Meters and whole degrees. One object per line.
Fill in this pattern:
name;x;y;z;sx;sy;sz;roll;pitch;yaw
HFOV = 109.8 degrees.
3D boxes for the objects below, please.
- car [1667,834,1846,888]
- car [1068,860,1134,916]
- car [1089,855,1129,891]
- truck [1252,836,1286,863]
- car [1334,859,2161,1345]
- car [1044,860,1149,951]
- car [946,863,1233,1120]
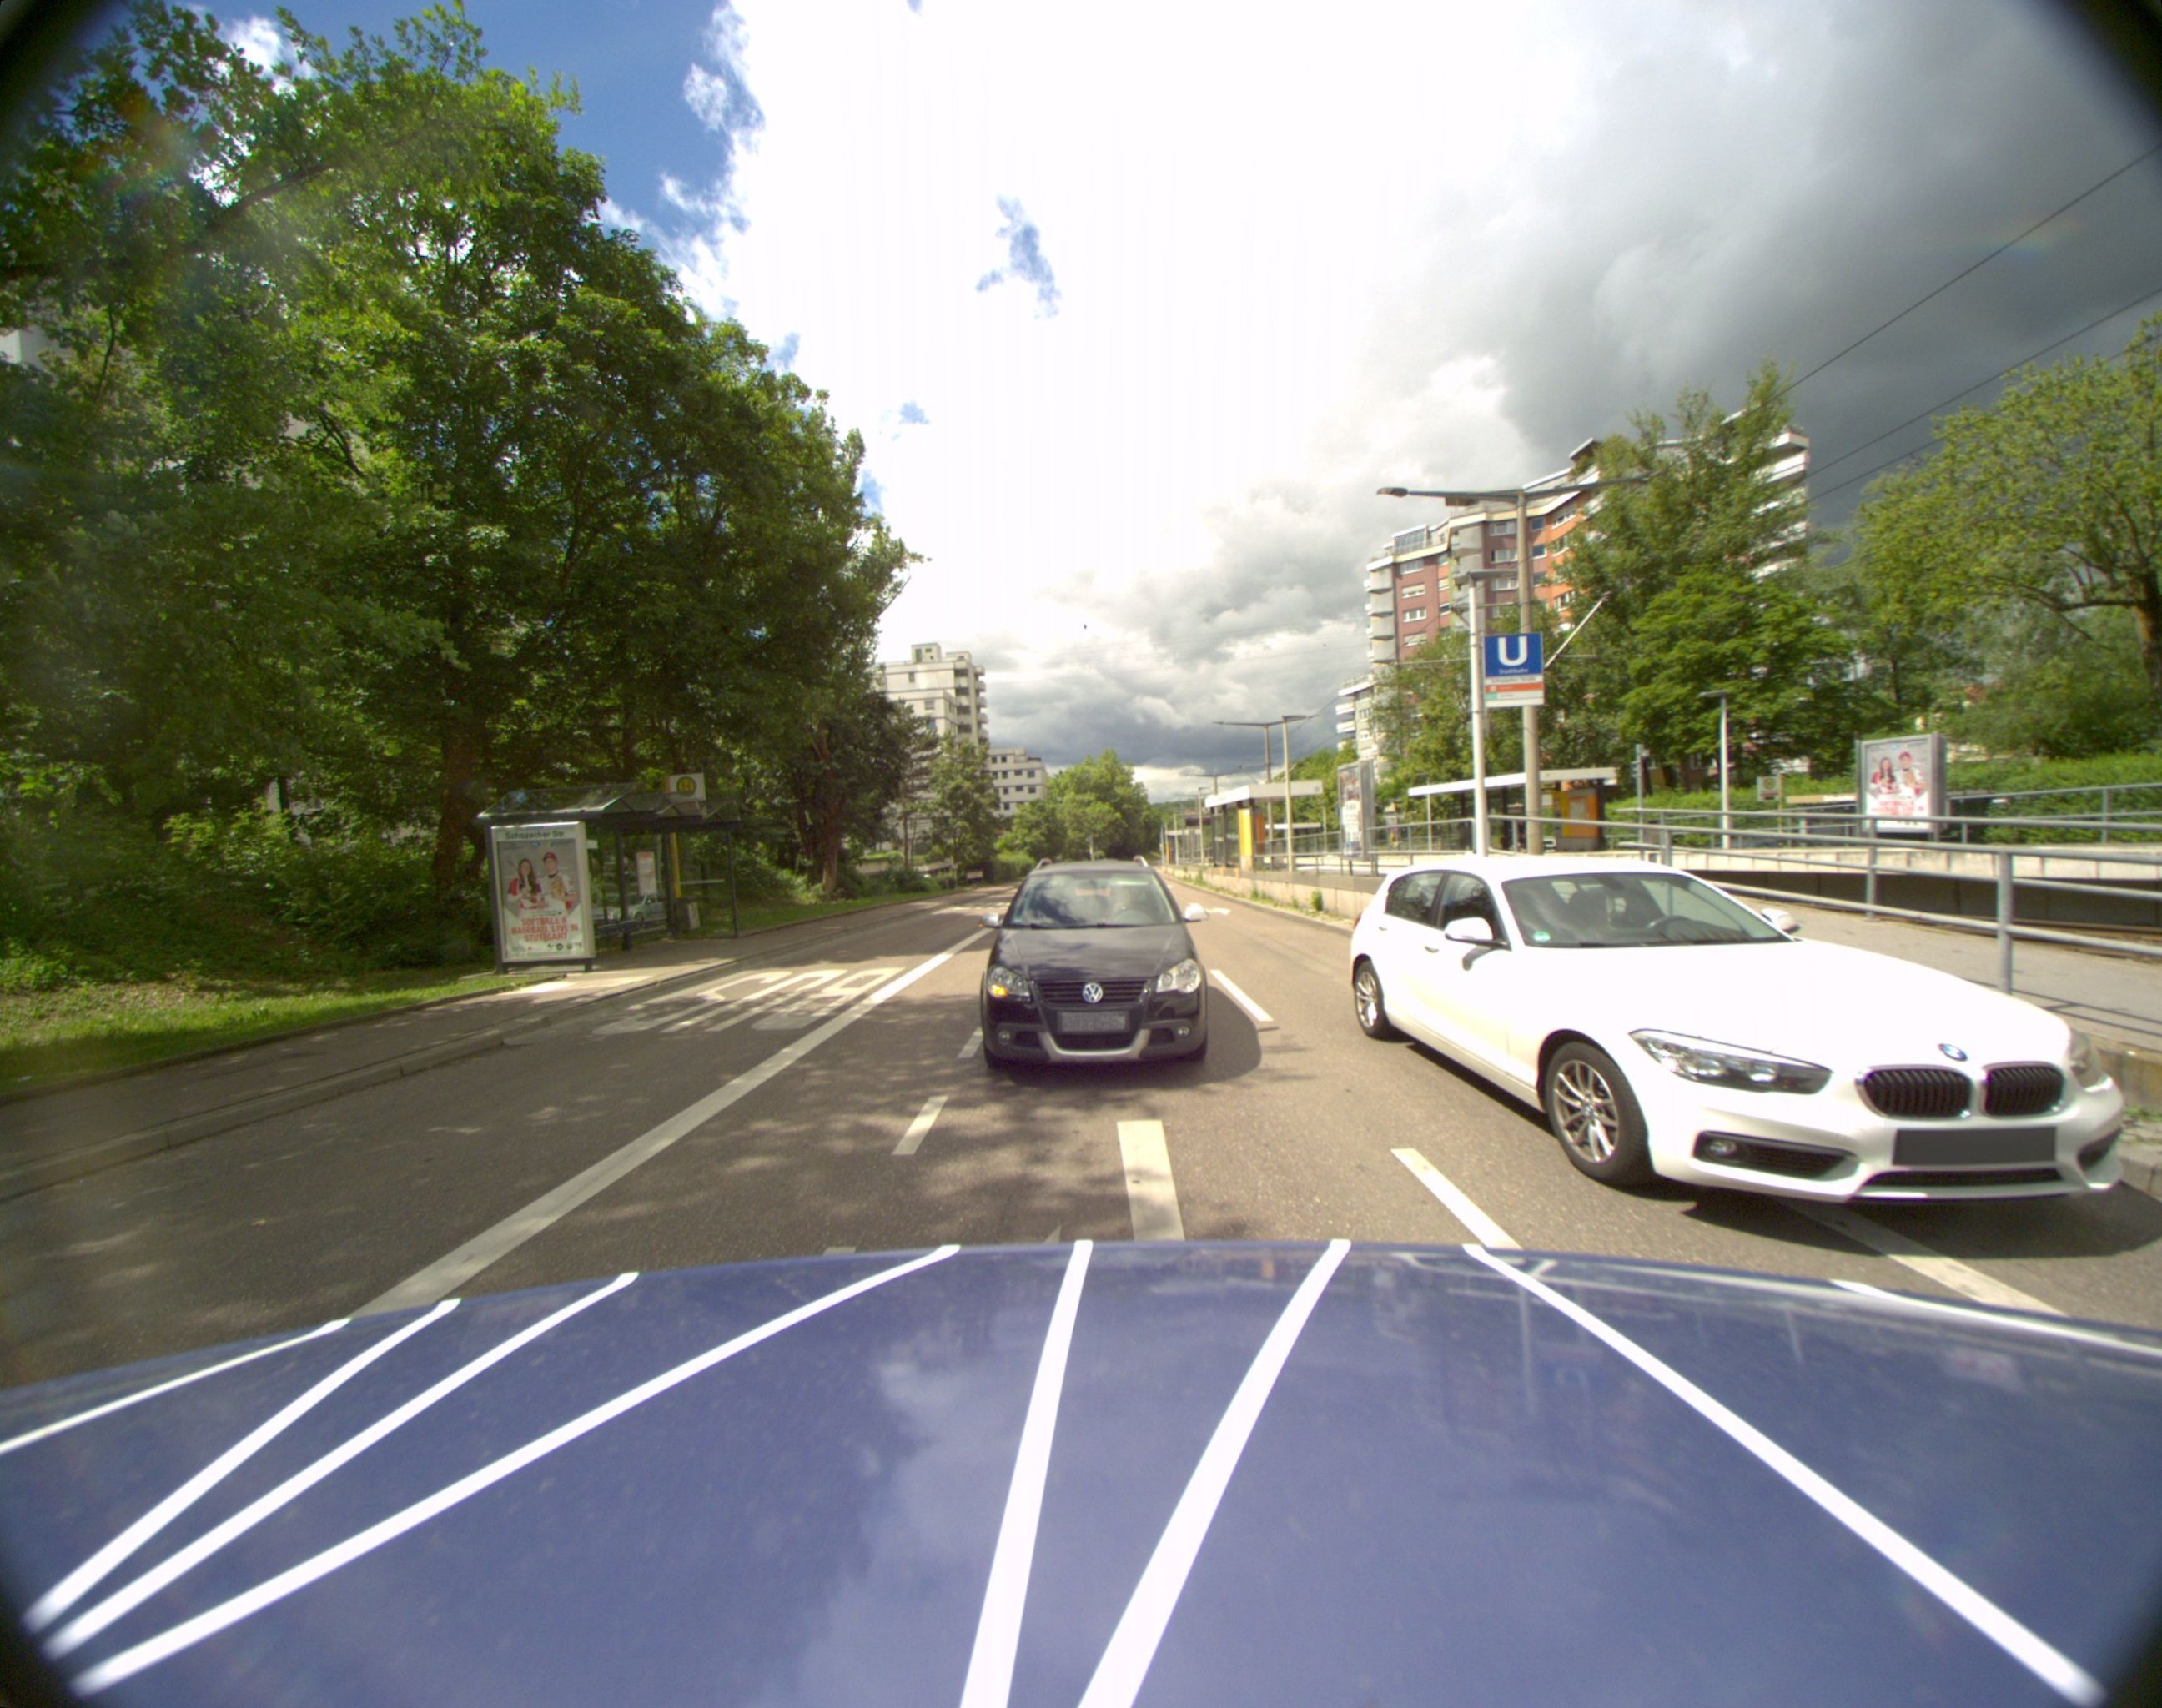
car;19.941;0.203;22.711;1.633;1.405;4.254;-2;0;2
car;0.643;0.935;22.566;1.732;1.452;4.001;-2;0;3
car;1.290;0.847;36.279;1.732;1.505;4.000;-2;1;1
truck;23.374;-0.532;94.874;2.420;3.203;7.263;-2;0;1
car;3.016;0.820;4.456;1.732;1.453;4.000;-2;1;1
car;0.291;0.898;14.930;1.732;1.453;4.000;-2;0;1
car;0.081;0.882;6.742;1.732;1.501;4.000;-2;0;1
